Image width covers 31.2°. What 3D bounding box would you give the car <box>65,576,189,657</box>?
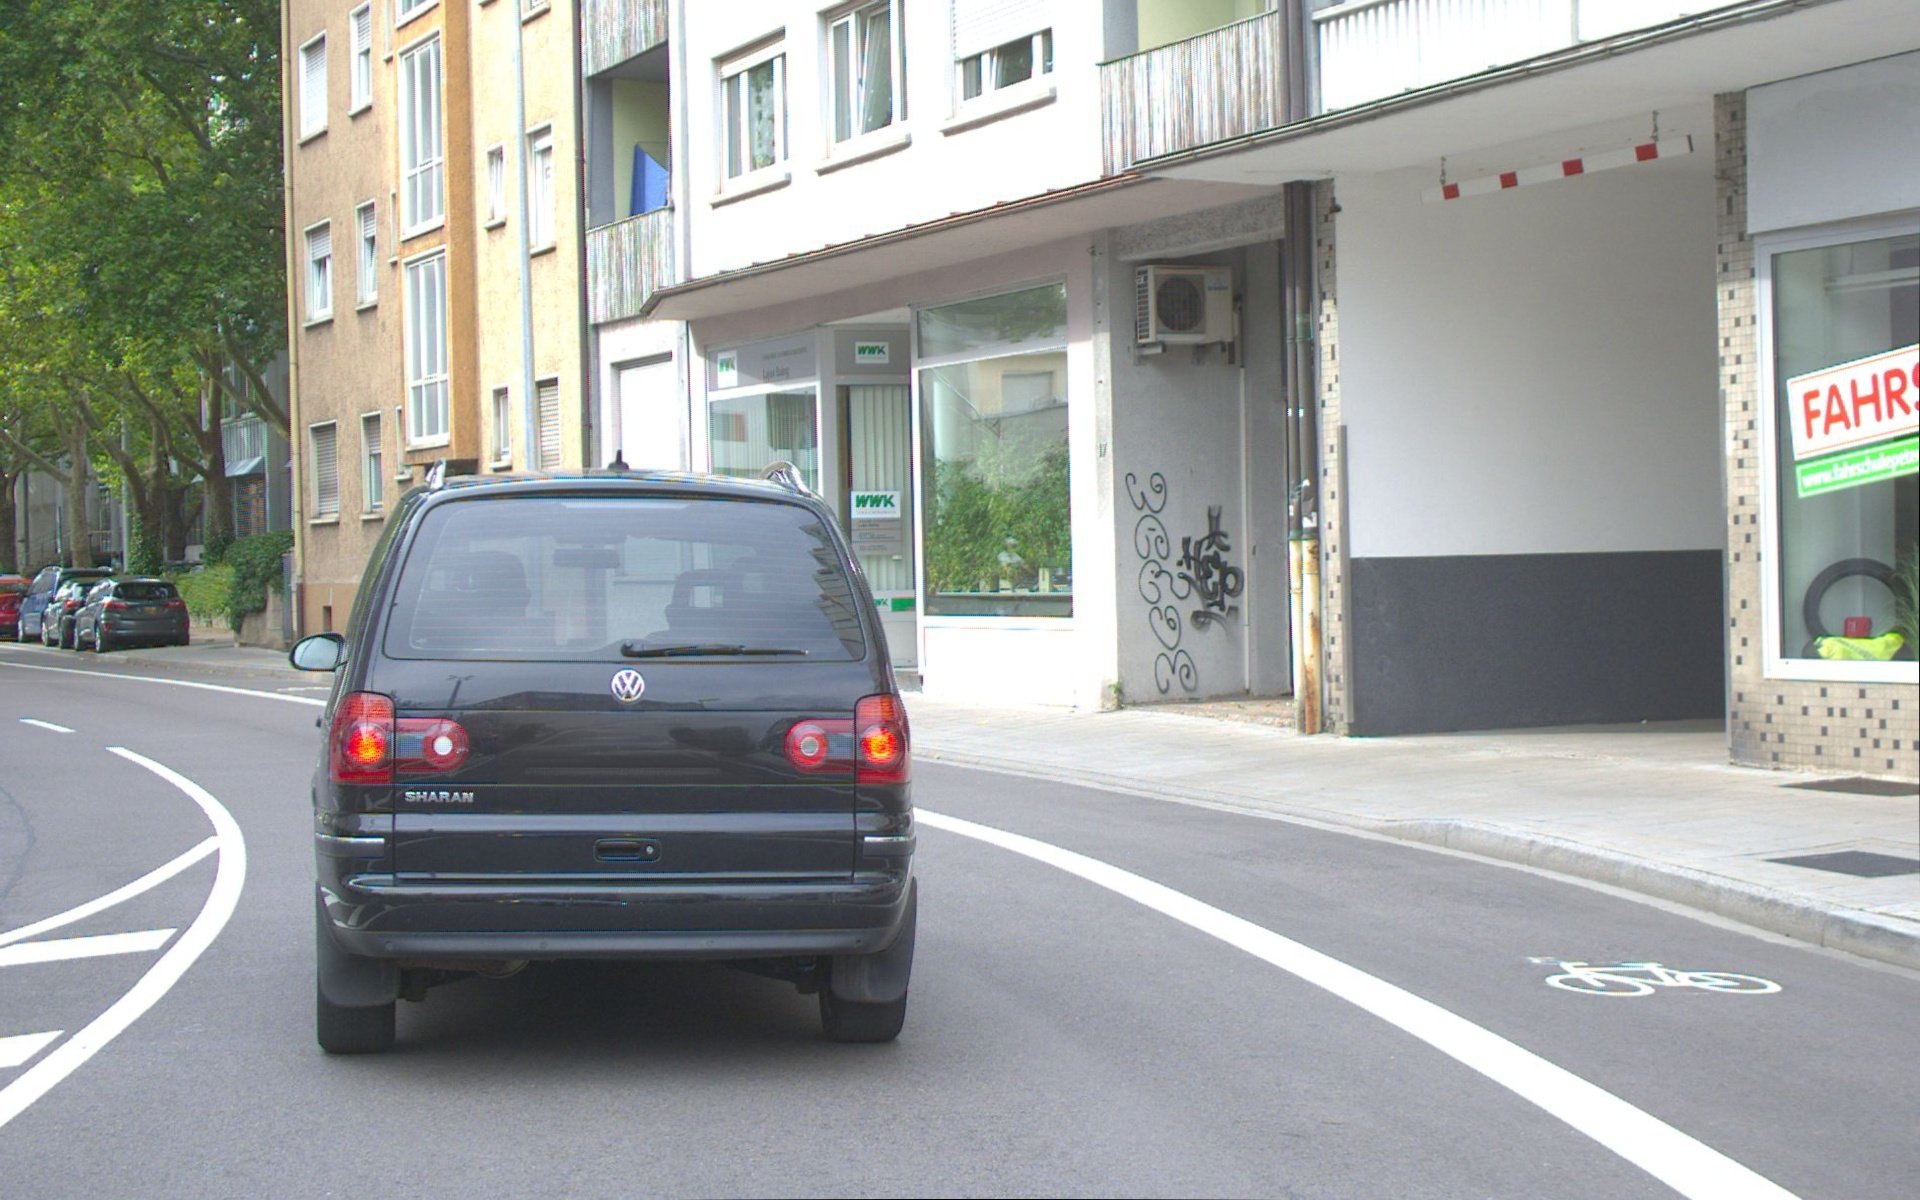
[{"bbox_3d":[-15.920,0.295,65.611,1.657,1.417,3.867,-2,2,-23],"label":"car"}]

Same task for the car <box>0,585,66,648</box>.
[{"bbox_3d":[-21.850,0.376,79.278,1.675,1.389,4.462,-1,0,-24],"label":"car"}]

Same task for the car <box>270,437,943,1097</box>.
[{"bbox_3d":[-1.237,0.433,11.152,1.812,1.760,3.739,0,0,-9],"label":"car"}]

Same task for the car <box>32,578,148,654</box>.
[{"bbox_3d":[-17.728,0.310,69.949,1.657,1.417,3.948,-2,2,-23],"label":"car"}]
